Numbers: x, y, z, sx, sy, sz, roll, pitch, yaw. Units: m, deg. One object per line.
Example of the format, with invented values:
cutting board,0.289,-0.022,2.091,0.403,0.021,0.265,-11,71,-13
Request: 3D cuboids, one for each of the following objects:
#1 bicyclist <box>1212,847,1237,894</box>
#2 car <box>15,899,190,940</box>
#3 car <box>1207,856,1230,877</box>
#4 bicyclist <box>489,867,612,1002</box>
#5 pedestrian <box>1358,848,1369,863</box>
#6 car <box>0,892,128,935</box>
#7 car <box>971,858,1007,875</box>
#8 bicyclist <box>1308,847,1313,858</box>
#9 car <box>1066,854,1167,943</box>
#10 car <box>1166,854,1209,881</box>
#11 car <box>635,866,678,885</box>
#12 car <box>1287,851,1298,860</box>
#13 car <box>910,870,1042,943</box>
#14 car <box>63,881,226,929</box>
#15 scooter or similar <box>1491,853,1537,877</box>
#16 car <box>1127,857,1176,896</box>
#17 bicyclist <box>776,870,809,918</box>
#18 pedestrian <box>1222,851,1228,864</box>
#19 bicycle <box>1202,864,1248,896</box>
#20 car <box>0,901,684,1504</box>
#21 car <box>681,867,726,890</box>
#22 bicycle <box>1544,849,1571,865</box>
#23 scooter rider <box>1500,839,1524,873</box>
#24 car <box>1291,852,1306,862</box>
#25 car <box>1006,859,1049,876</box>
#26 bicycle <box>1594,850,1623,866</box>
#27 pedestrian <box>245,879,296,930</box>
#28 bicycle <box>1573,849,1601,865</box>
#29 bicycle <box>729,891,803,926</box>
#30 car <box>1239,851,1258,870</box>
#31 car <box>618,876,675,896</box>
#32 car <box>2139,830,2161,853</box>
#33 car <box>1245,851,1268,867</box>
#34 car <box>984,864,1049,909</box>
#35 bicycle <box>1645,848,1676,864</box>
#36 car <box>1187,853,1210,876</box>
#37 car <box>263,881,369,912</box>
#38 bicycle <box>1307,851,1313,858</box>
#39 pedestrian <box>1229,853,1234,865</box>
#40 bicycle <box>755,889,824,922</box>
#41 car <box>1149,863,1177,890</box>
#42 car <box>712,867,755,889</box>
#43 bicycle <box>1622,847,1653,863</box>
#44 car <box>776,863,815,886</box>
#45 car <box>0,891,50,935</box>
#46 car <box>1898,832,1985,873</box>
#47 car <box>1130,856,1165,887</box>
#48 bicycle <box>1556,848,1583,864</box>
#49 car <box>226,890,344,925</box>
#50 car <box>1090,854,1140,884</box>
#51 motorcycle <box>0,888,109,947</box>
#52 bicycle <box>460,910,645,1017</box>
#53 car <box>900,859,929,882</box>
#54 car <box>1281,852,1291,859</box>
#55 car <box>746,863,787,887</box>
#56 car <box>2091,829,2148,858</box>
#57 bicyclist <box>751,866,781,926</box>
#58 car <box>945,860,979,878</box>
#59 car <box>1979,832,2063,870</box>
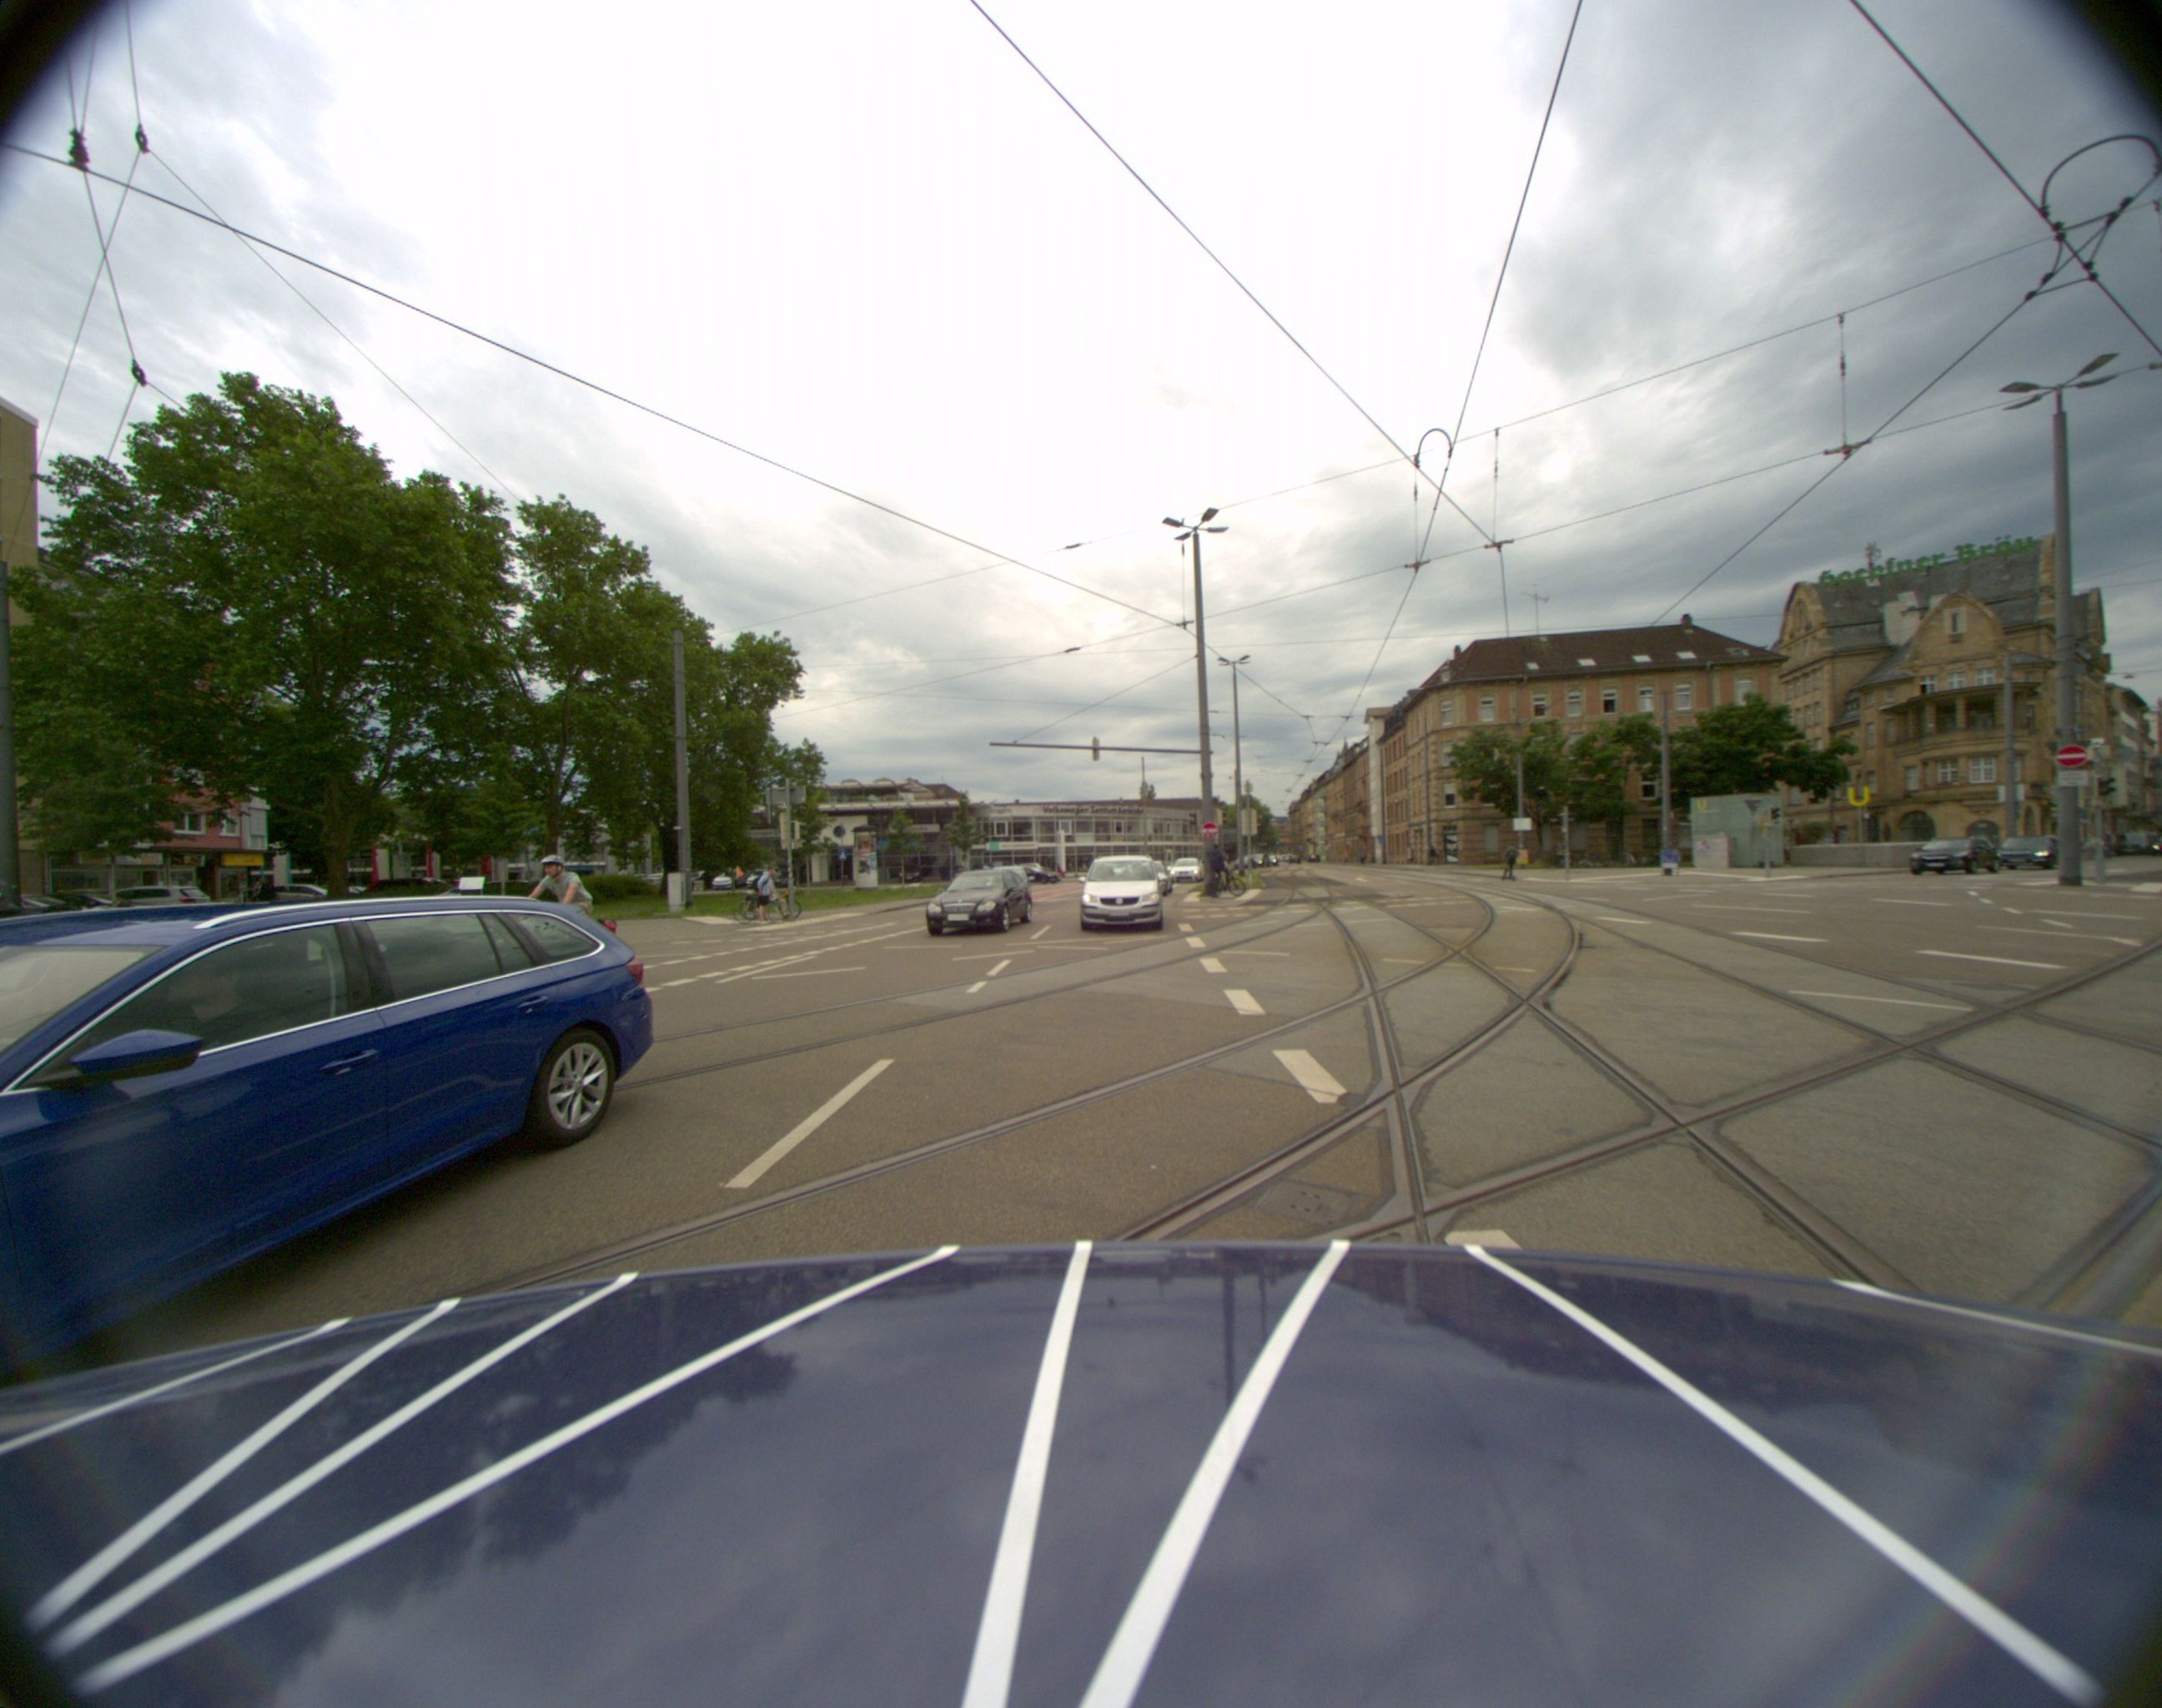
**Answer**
bicyclist,5.154,0.596,27.328,0.656,1.630,0.517,-3,1,-27
car,-40.430,2.666,31.551,4.006,1.327,1.833,-2,0,-29
car,13.959,1.226,76.969,1.997,2.002,4.004,-2,0,13
bicyclist,-6.870,1.013,9.888,0.790,1.608,0.934,-4,0,8
pedestrian,34.581,0.154,93.047,0.921,1.822,0.719,-2,0,-23
car,-40.177,2.303,29.148,4.006,1.433,1.996,-2,0,-29
car,-8.777,1.189,72.225,1.794,1.551,4.025,-3,0,-32
bicyclist,39.759,-0.218,131.690,0.823,1.855,0.925,-2,0,13
car,0.938,0.865,17.126,1.862,1.609,5.064,-3,0,6
car,6.404,0.784,45.271,1.970,1.447,4.197,-2,0,15
car,-40.159,2.036,71.915,3.120,1.505,1.440,-3,4,0
car,43.303,0.279,155.610,1.833,1.635,4.234,-3,0,11
car,-2.289,1.136,17.831,1.768,1.362,4.425,-2,0,10
car,-41.474,2.206,33.801,4.005,1.713,1.996,-4,1,-28
scooter or similar,21.438,0.542,37.668,0.575,1.158,1.903,-3,0,-29
car,2.905,0.861,31.229,1.809,1.398,3.984,-2,0,6
bicyclist,-9.357,1.282,24.667,0.886,1.513,0.671,0,0,-8
pedestrian,19.086,0.509,100.669,0.662,1.671,0.651,-2,1,11
bicycle,5.194,0.934,27.345,1.616,1.064,0.527,-2,1,-27
car,-3.797,1.082,2.946,1.769,1.428,4.758,-2,0,3
car,-35.126,2.286,70.844,1.956,1.505,4.225,-2,6,0
bicycle,33.332,0.216,53.196,0.836,1.024,2.399,-2,0,12
scooter rider,21.395,0.105,37.729,0.570,1.618,0.820,-3,1,-29
car,34.889,0.473,121.855,1.886,1.461,4.467,-3,0,11
car,-5.165,1.315,74.009,3.903,1.433,1.733,-3,0,3
bicycle,36.298,0.251,52.320,0.753,1.024,2.399,-2,0,12
pedestrian,-29.708,1.835,27.874,0.867,1.808,0.897,-2,0,-12
bicycle,35.169,0.203,52.861,0.753,1.024,2.399,-2,0,12
bicycle,-9.518,1.641,23.047,1.993,0.993,0.579,0,2,-15
car,19.012,0.759,86.073,1.997,2.002,4.004,-2,0,13
car,-39.856,2.923,69.681,4.147,1.505,1.654,-3,4,0
car,76.998,-0.908,54.065,4.008,1.457,1.828,-3,0,-34
car,21.356,0.614,92.382,2.370,1.744,5.135,-2,0,16
car,-2.408,1.202,29.325,1.708,1.474,3.935,-4,0,6
bicycle,39.301,0.141,51.571,0.753,1.024,2.399,-2,0,12
car,11.138,0.954,71.960,1.997,2.002,4.003,-2,0,10
car,-45.809,2.502,45.634,4.005,1.604,1.996,-2,0,-28
bicycle,39.790,0.067,131.776,0.798,1.285,2.413,-2,0,13
pedestrian,23.108,0.768,116.403,0.651,1.904,0.603,-2,1,12
bicycle,-9.374,1.656,24.486,1.946,0.992,0.601,1,0,-8
car,6.513,1.769,60.621,1.998,2.002,4.001,-2,0,4
car,-32.398,2.187,70.972,1.956,1.459,4.226,-2,5,0
bicycle,37.812,0.049,51.670,0.753,1.024,2.399,-2,0,12
car,-26.705,1.892,71.168,1.956,1.450,4.224,-2,7,0
car,-39.526,2.169,26.317,4.005,1.455,1.996,-3,0,-27
car,38.553,-0.077,34.023,4.252,1.601,1.995,-3,0,-34
car,4.745,1.202,53.742,1.997,2.002,4.003,-2,0,10
bicycle,34.092,0.124,53.023,0.753,1.024,2.399,-2,0,12
car,-43.489,2.875,41.639,4.005,1.604,1.996,-2,0,-28
car,1.930,0.799,42.054,1.980,1.550,4.149,-2,0,13
motorcycle,-26.854,1.621,19.363,2.296,1.358,1.044,-2,0,-28
bicycle,-6.826,1.377,9.982,0.762,1.072,2.018,-4,0,8
car,-15.515,1.482,70.970,1.957,1.635,4.668,-3,4,-5
car,46.168,0.326,171.088,1.813,1.423,4.020,-3,0,11
car,-29.410,1.948,71.148,1.956,1.589,4.225,-2,6,0
car,67.713,-0.681,49.534,4.008,1.749,1.828,-2,1,-32
bicyclist,-9.551,1.264,23.039,0.735,1.742,0.585,-1,2,-15
car,-11.169,1.391,71.102,1.959,1.517,4.221,-3,2,-24
car,46.121,-0.163,37.251,4.932,1.704,2.157,-2,0,-34
